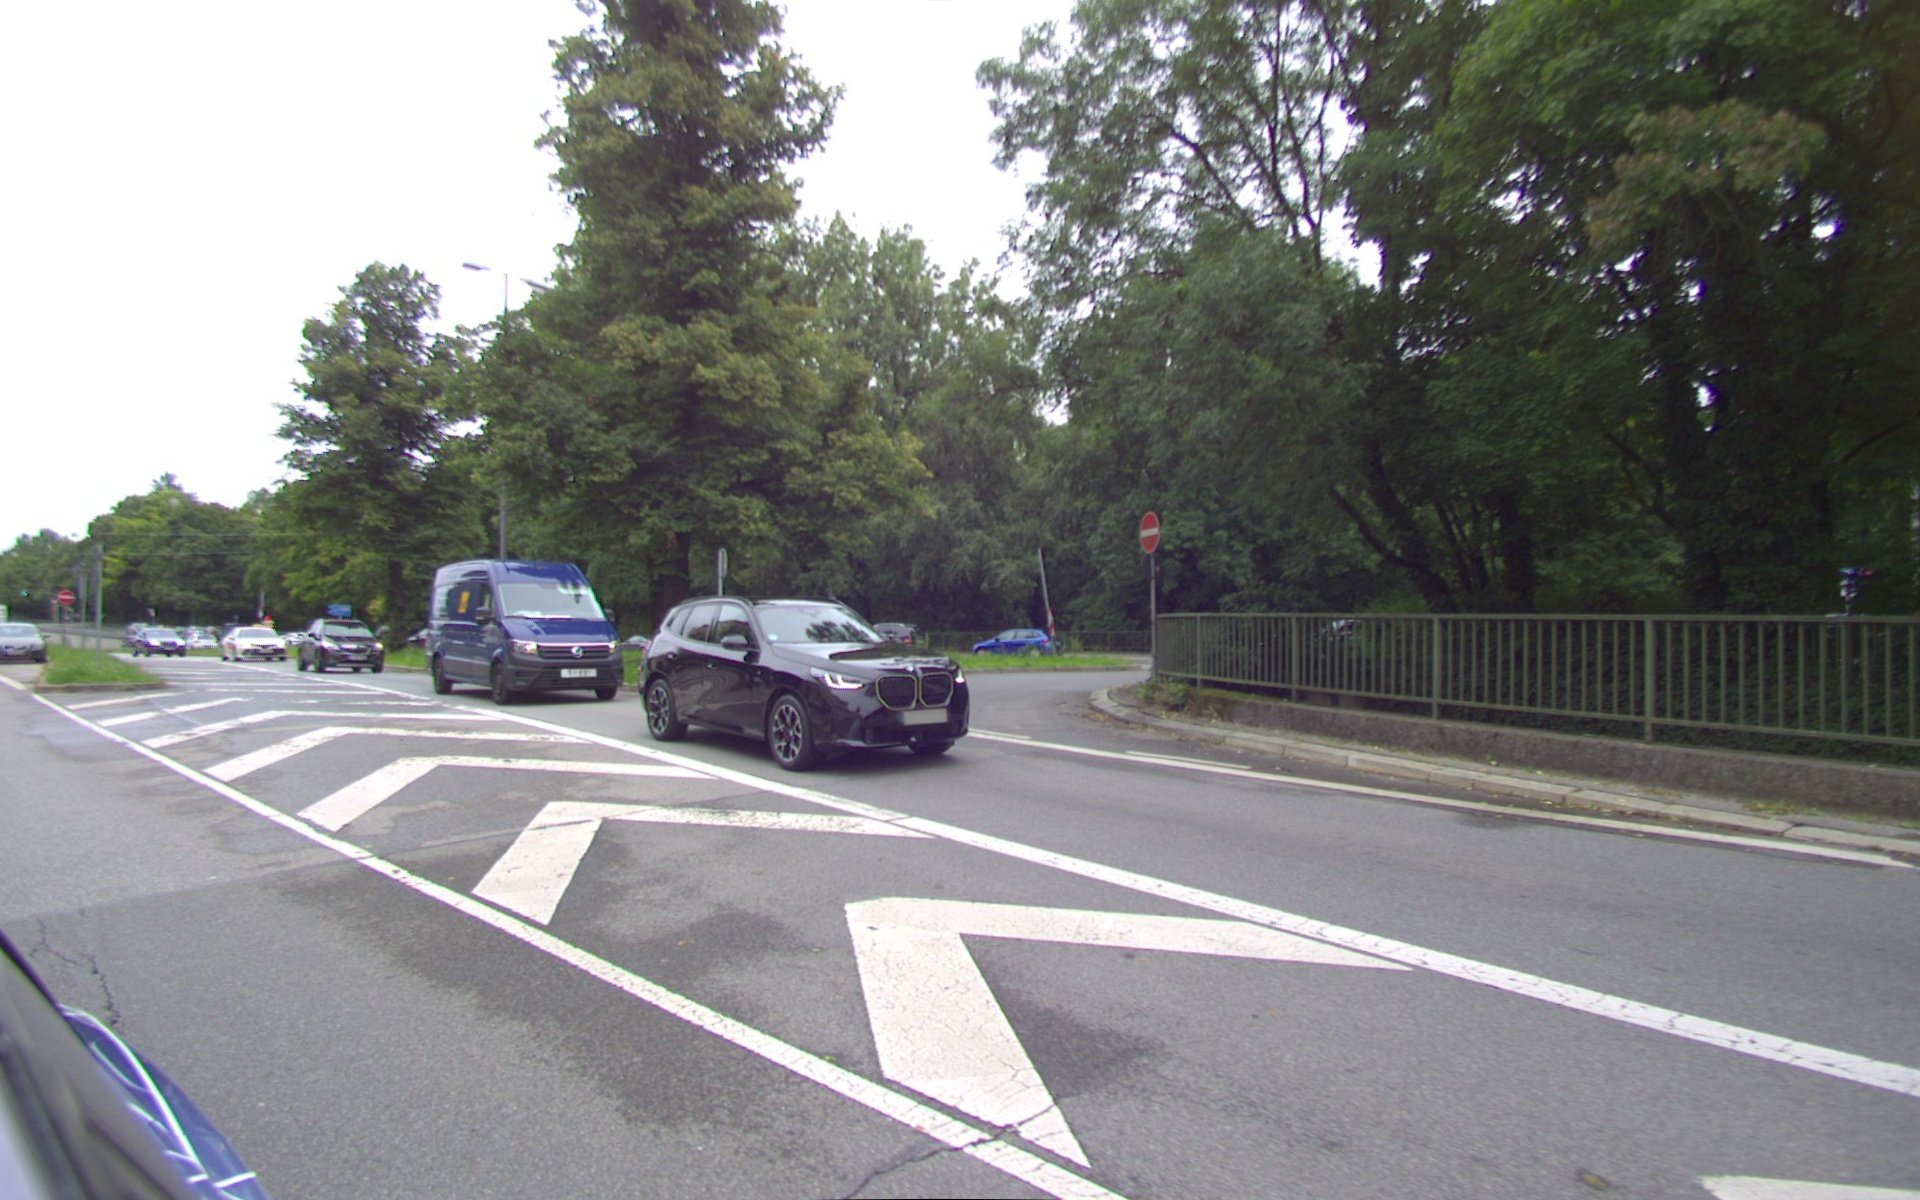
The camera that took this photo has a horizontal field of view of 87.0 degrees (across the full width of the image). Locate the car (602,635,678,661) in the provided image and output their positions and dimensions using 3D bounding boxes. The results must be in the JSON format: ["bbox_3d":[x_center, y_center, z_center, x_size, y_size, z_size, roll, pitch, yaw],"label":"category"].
[{"bbox_3d":[-18.773,2.809,59.261,4.518,1.457,1.975,-2,-4,37],"label":"car"}]

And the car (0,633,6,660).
[{"bbox_3d":[-54.726,2.571,56.122,4.276,1.467,1.968,-1,-3,38],"label":"car"}]

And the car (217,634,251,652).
[{"bbox_3d":[-74.321,4.419,103.595,3.997,1.759,1.861,-2,-2,41],"label":"car"}]

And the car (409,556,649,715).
[{"bbox_3d":[-8.124,0.601,18.686,2.158,2.482,5.857,2,-2,-43],"label":"car"}]

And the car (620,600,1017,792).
[{"bbox_3d":[-1.760,0.868,10.906,1.890,1.598,4.837,0,-2,-41],"label":"car"}]

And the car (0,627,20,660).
[{"bbox_3d":[-47.010,2.083,49.006,4.284,1.577,1.965,-2,-3,44],"label":"car"}]

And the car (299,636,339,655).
[{"bbox_3d":[-56.595,3.971,89.337,3.997,1.569,1.887,0,-2,40],"label":"car"}]

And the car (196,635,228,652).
[{"bbox_3d":[-79.822,4.628,107.981,3.997,1.759,1.842,-2,-2,41],"label":"car"}]

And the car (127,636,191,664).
[{"bbox_3d":[-46.040,2.841,58.150,4.269,1.577,1.967,-2,-3,39],"label":"car"}]

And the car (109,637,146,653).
[{"bbox_3d":[-75.745,4.071,92.025,4.030,1.457,1.872,-2,-3,40],"label":"car"}]

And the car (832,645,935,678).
[{"bbox_3d":[-3.724,2.961,49.110,4.751,1.457,1.979,-1,-3,31],"label":"car"}]

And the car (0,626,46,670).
[{"bbox_3d":[-35.682,1.765,37.979,1.876,1.577,4.774,2,-3,-44],"label":"car"}]

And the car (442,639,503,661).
[{"bbox_3d":[-34.357,3.514,71.272,4.518,1.457,1.975,-2,-4,37],"label":"car"}]

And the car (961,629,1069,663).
[{"bbox_3d":[2.456,2.048,45.321,4.406,1.457,1.980,-1,-3,30],"label":"car"}]

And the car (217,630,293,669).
[{"bbox_3d":[-30.222,2.099,43.325,1.964,1.577,4.658,2,-3,-44],"label":"car"}]

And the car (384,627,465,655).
[{"bbox_3d":[-28.958,2.219,54.721,4.372,1.457,1.878,-1,-3,31],"label":"car"}]

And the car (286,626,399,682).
[{"bbox_3d":[-19.334,1.649,31.612,4.274,1.640,1.965,-2,-3,44],"label":"car"}]

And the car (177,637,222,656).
[{"bbox_3d":[-59.493,3.607,79.192,4.231,1.457,1.809,-2,-4,39],"label":"car"}]

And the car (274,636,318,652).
[{"bbox_3d":[-61.022,4.028,92.991,4.310,1.457,1.975,-2,-4,37],"label":"car"}]
